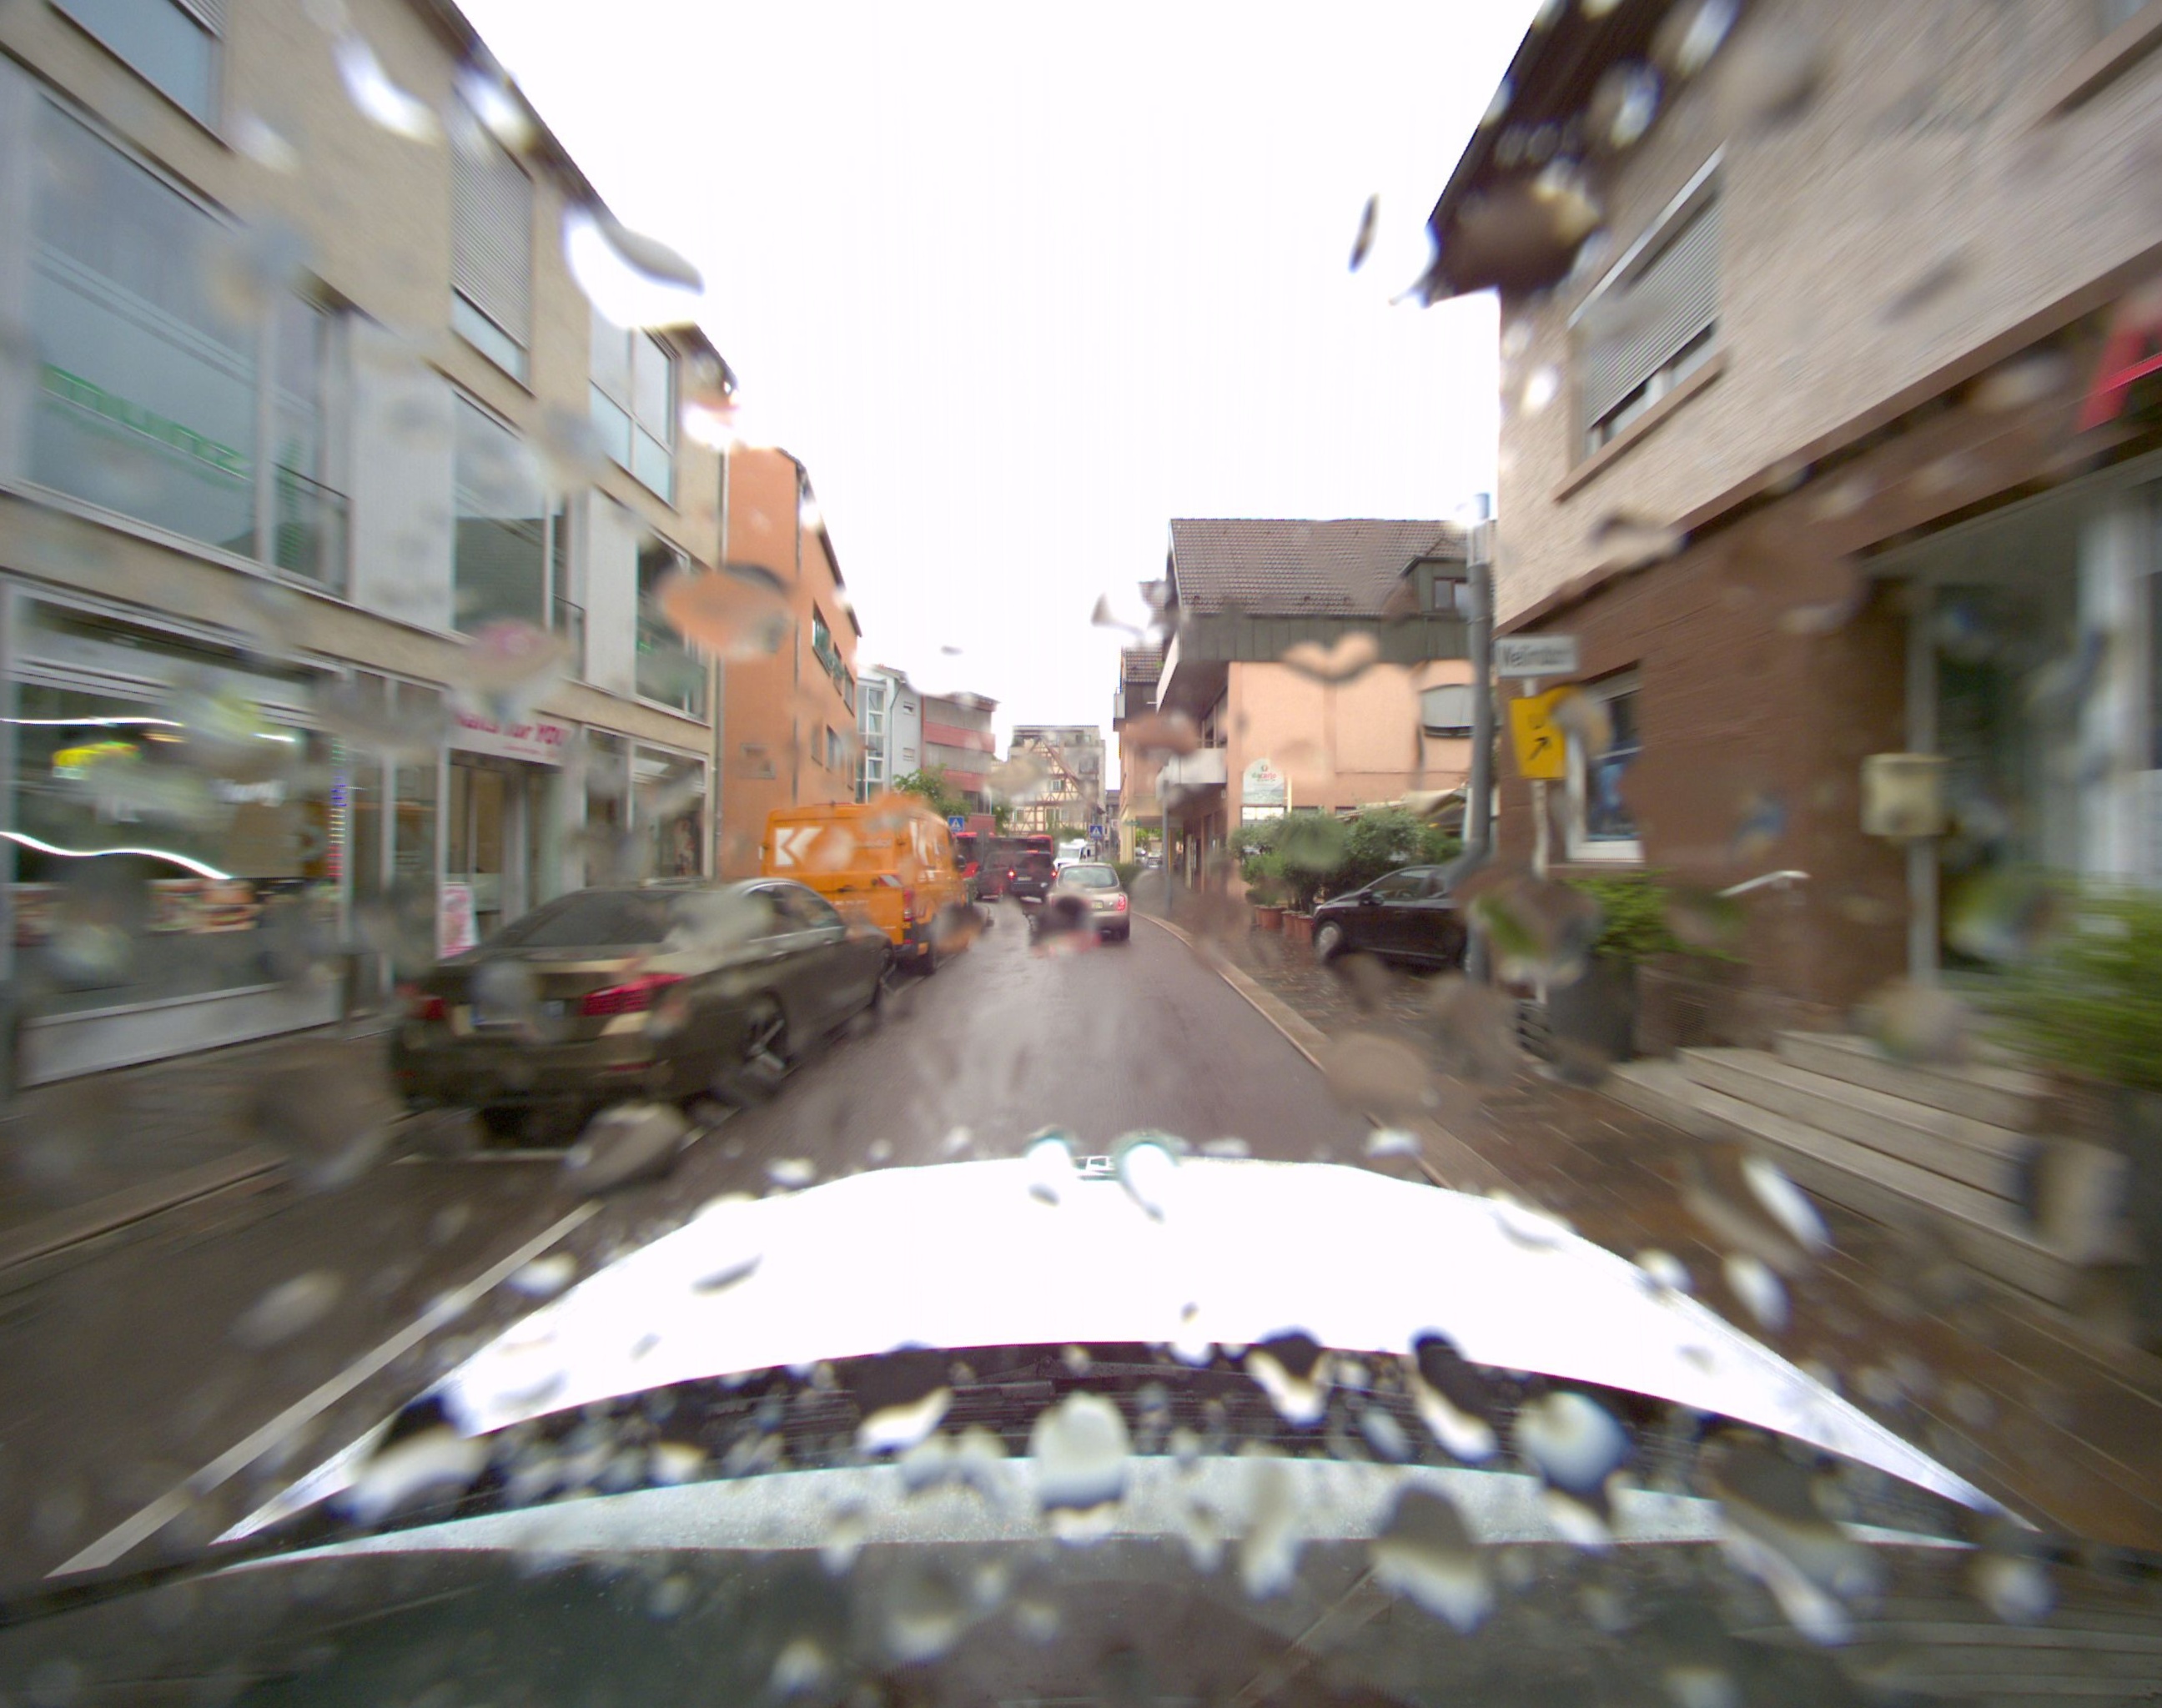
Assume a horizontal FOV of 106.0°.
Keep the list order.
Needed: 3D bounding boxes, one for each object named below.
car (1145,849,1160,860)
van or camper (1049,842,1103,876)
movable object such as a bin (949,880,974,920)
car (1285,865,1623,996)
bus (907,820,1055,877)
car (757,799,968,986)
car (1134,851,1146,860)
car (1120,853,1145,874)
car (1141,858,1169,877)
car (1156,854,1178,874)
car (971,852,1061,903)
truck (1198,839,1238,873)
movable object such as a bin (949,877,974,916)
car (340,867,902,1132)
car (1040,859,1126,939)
[{"bbox_3d":[9.846,0.124,112.077,1.888,1.508,3.913,0,-1,4],"label":"car"},{"bbox_3d":[-0.312,0.373,65.047,2.419,2.585,6.779,0,0,16],"label":"van or camper"},{"bbox_3d":[-3.188,1.211,21.708,0.656,1.037,0.608,0,-1,-10],"label":"movable object such as a bin"},{"bbox_3d":[4.609,0.833,10.728,1.741,1.357,3.906,0,-1,-23],"label":"car"},{"bbox_3d":[-5.718,-0.317,49.336,2.786,3.088,10.674,1,1,32],"label":"bus"},{"bbox_3d":[-3.044,0.482,12.798,1.989,2.240,5.854,0,-1,-3],"label":"car"},{"bbox_3d":[9.748,0.309,134.924,1.888,1.508,3.913,0,-1,4],"label":"car"},{"bbox_3d":[4.202,0.759,65.987,1.888,1.574,4.005,0,-1,4],"label":"car"},{"bbox_3d":[5.612,1.026,61.477,1.526,1.362,3.386,0,0,14],"label":"car"},{"bbox_3d":[7.044,0.772,66.352,1.615,1.500,4.008,-3,0,7],"label":"car"},{"bbox_3d":[-2.562,0.853,30.961,1.956,1.781,4.688,0,-1,-25],"label":"car"},{"bbox_3d":[7.790,0.130,46.525,1.756,1.808,4.002,0,-1,2],"label":"truck"},{"bbox_3d":[-3.304,1.158,22.502,0.656,1.036,0.608,-1,0,-10],"label":"movable object such as a bin"},{"bbox_3d":[-2.895,0.792,6.477,1.749,1.356,4.484,-1,-1,3],"label":"car"},{"bbox_3d":[-0.037,0.862,17.009,1.520,1.471,3.335,0,0,-5],"label":"car"}]
